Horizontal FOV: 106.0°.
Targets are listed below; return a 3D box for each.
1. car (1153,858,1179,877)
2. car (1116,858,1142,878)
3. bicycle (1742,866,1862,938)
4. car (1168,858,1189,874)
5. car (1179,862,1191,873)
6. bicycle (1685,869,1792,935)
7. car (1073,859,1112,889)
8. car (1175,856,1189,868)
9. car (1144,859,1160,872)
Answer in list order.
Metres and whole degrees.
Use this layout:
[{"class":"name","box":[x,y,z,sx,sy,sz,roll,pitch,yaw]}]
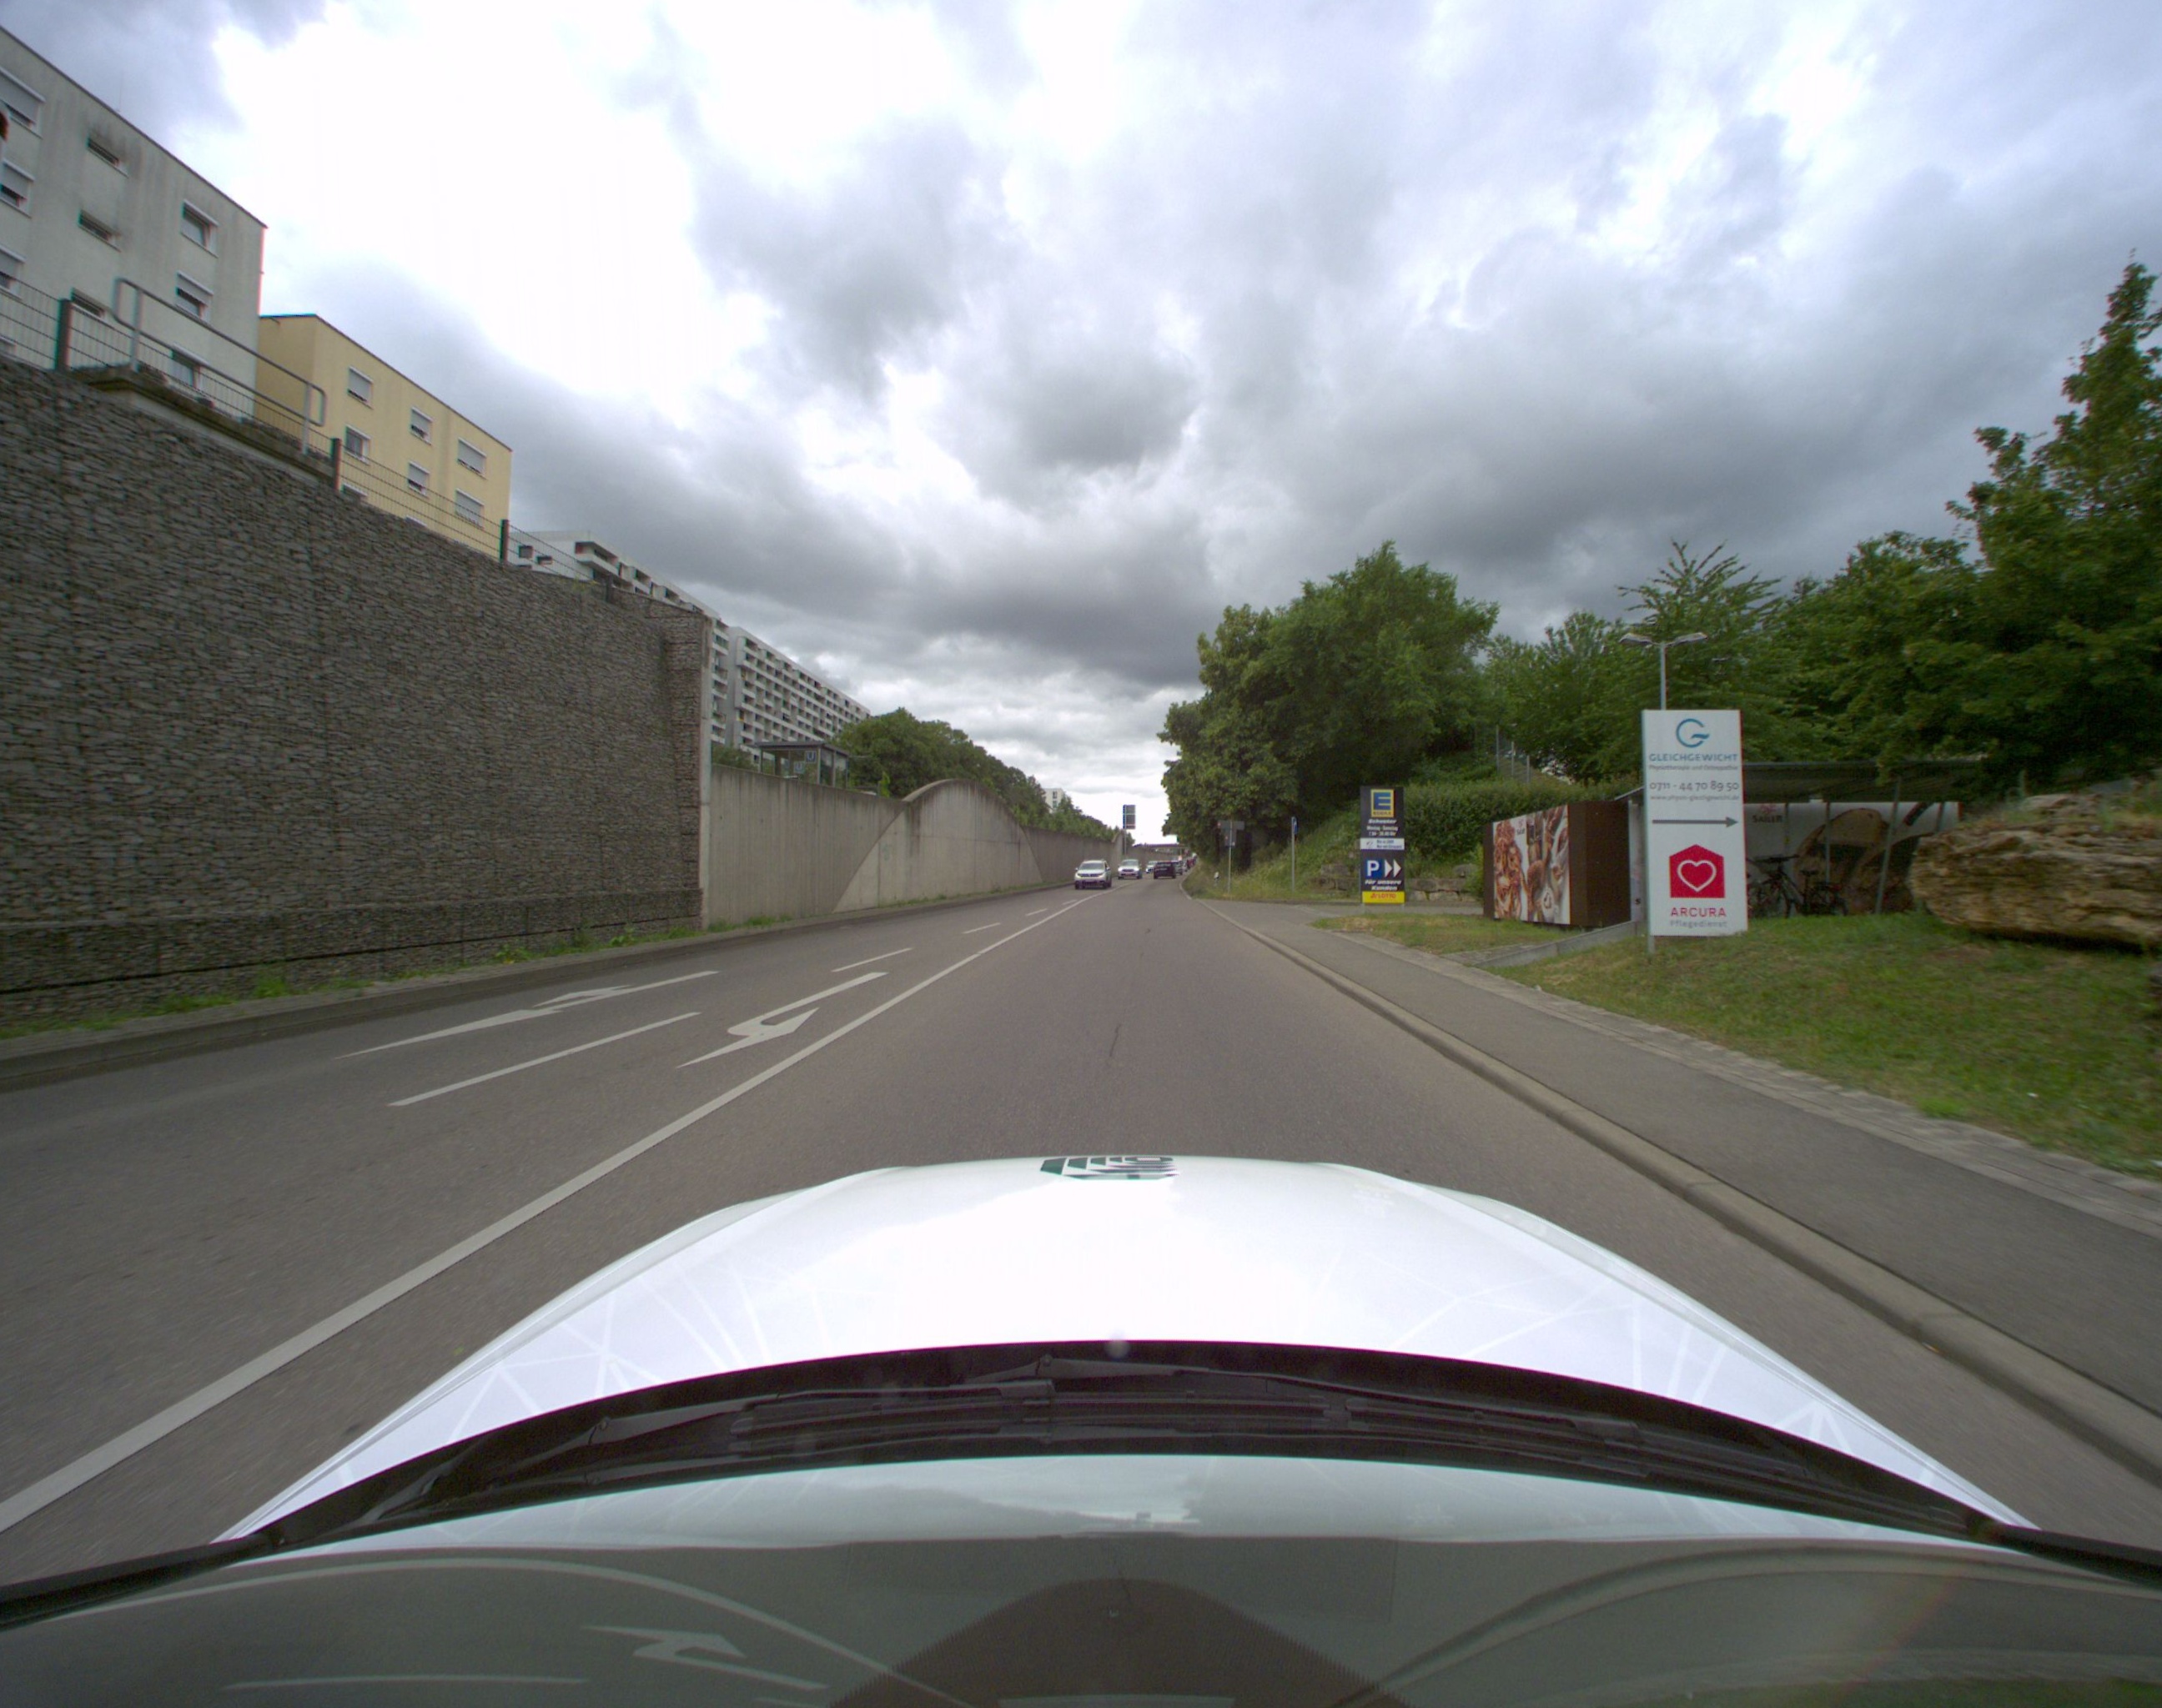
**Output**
[{"class":"car","box":[7.082,1.157,67.763,1.742,1.524,4.049,-1,-2,12]},{"class":"car","box":[4.121,1.200,69.083,1.880,1.632,4.435,-1,0,8]},{"class":"bicycle","box":[10.377,0.654,11.784,0.488,0.952,1.557,0,0,6]},{"class":"car","box":[10.079,1.221,83.789,1.742,1.523,4.049,2,-2,12]},{"class":"car","box":[16.723,2.162,130.812,1.745,1.534,4.262,2,-2,7]},{"class":"bicycle","box":[9.489,0.667,11.815,0.488,0.875,1.484,0,0,6]},{"class":"car","box":[0.689,1.096,46.738,1.852,1.632,4.215,-1,0,6]},{"class":"car","box":[13.565,1.086,109.454,1.857,1.490,4.265,2,-1,7]},{"class":"car","box":[8.821,1.407,101.528,1.906,1.495,4.215,-1,0,6]}]
